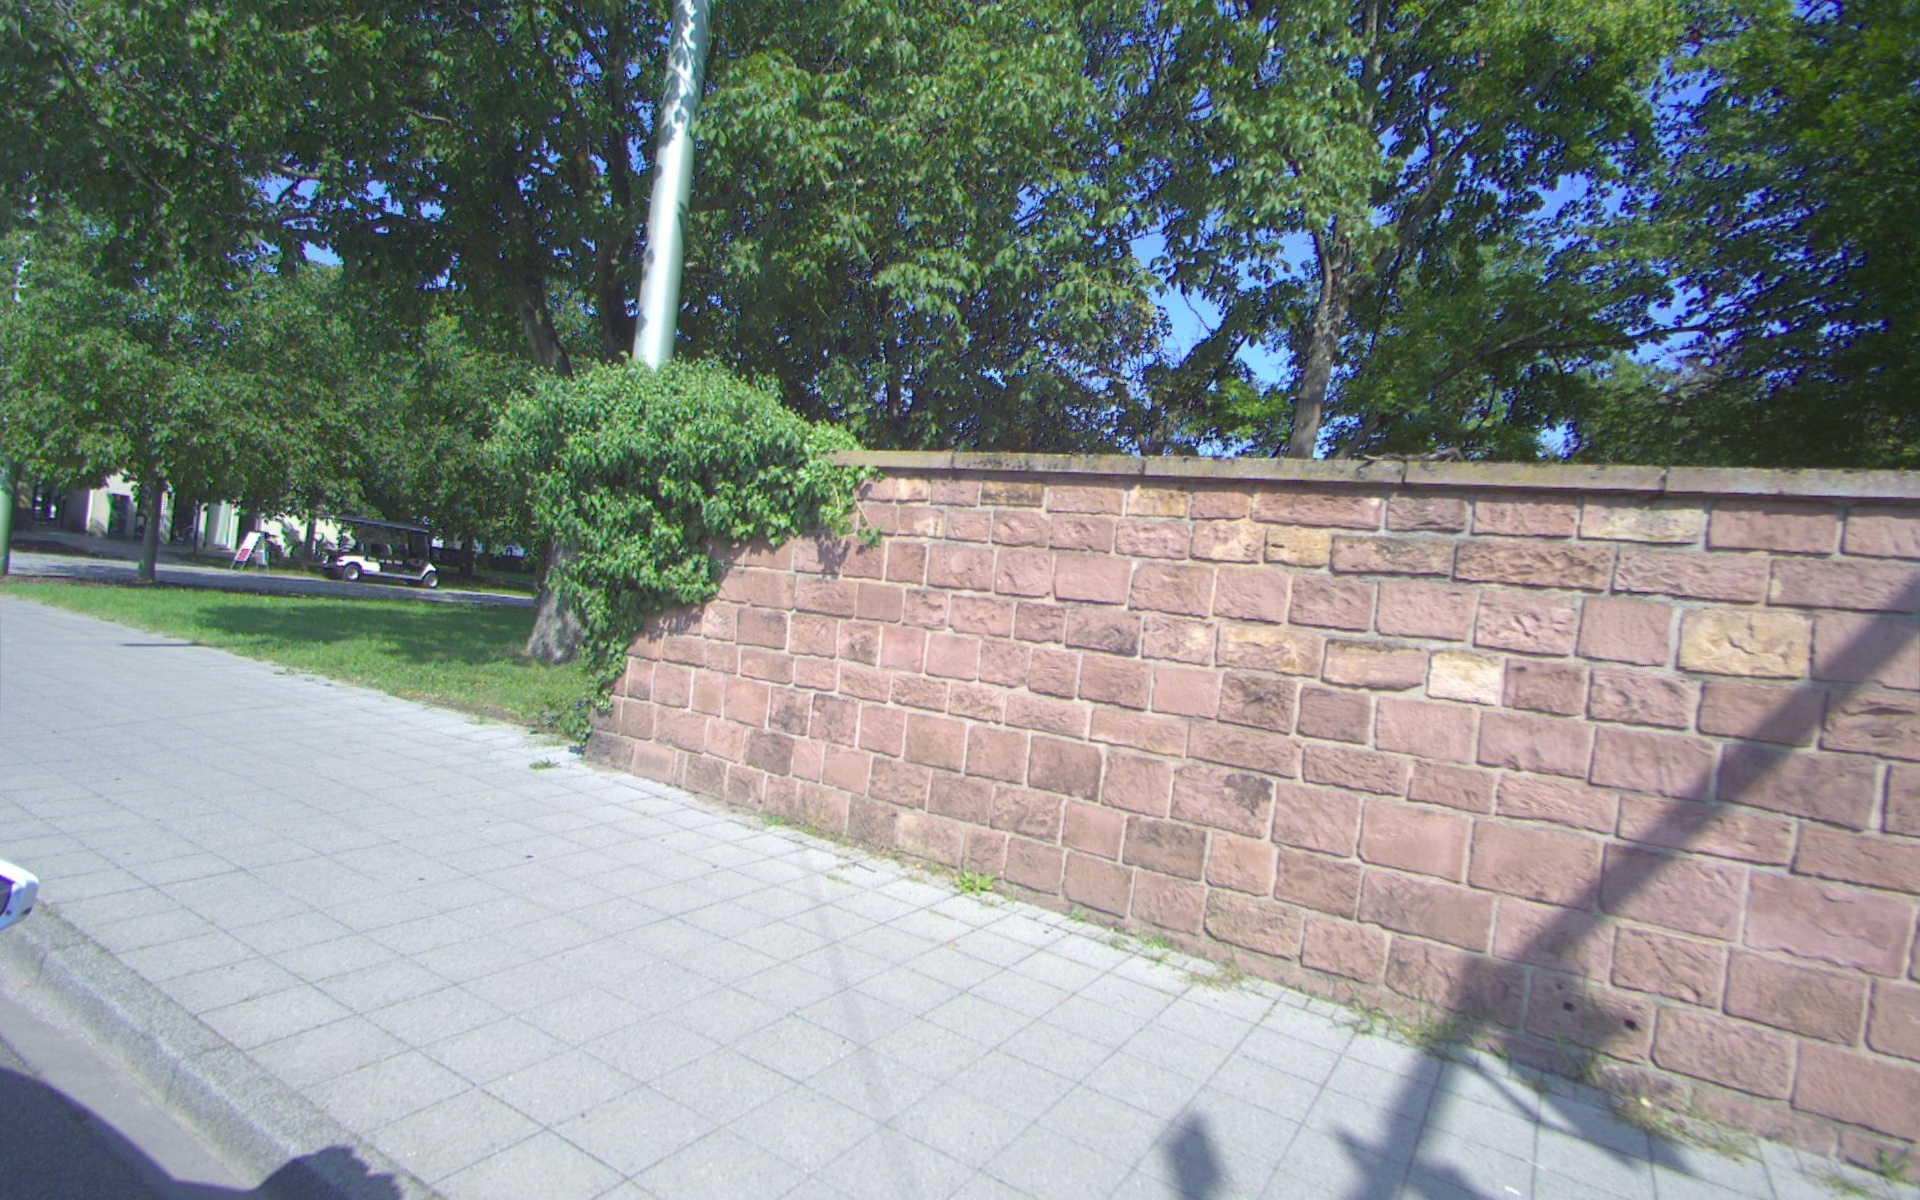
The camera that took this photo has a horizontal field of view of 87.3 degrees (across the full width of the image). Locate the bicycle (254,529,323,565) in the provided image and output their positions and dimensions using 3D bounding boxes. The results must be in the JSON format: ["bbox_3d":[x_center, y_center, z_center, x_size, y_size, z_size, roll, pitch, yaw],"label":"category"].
[{"bbox_3d":[-23.242,-1.832,34.870,0.420,0.991,1.907,7,-1,32],"label":"bicycle"}]

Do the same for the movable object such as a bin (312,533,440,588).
[{"bbox_3d":[-17.978,-1.192,31.093,1.279,1.314,3.111,7,0,29],"label":"movable object such as a bin"}]
